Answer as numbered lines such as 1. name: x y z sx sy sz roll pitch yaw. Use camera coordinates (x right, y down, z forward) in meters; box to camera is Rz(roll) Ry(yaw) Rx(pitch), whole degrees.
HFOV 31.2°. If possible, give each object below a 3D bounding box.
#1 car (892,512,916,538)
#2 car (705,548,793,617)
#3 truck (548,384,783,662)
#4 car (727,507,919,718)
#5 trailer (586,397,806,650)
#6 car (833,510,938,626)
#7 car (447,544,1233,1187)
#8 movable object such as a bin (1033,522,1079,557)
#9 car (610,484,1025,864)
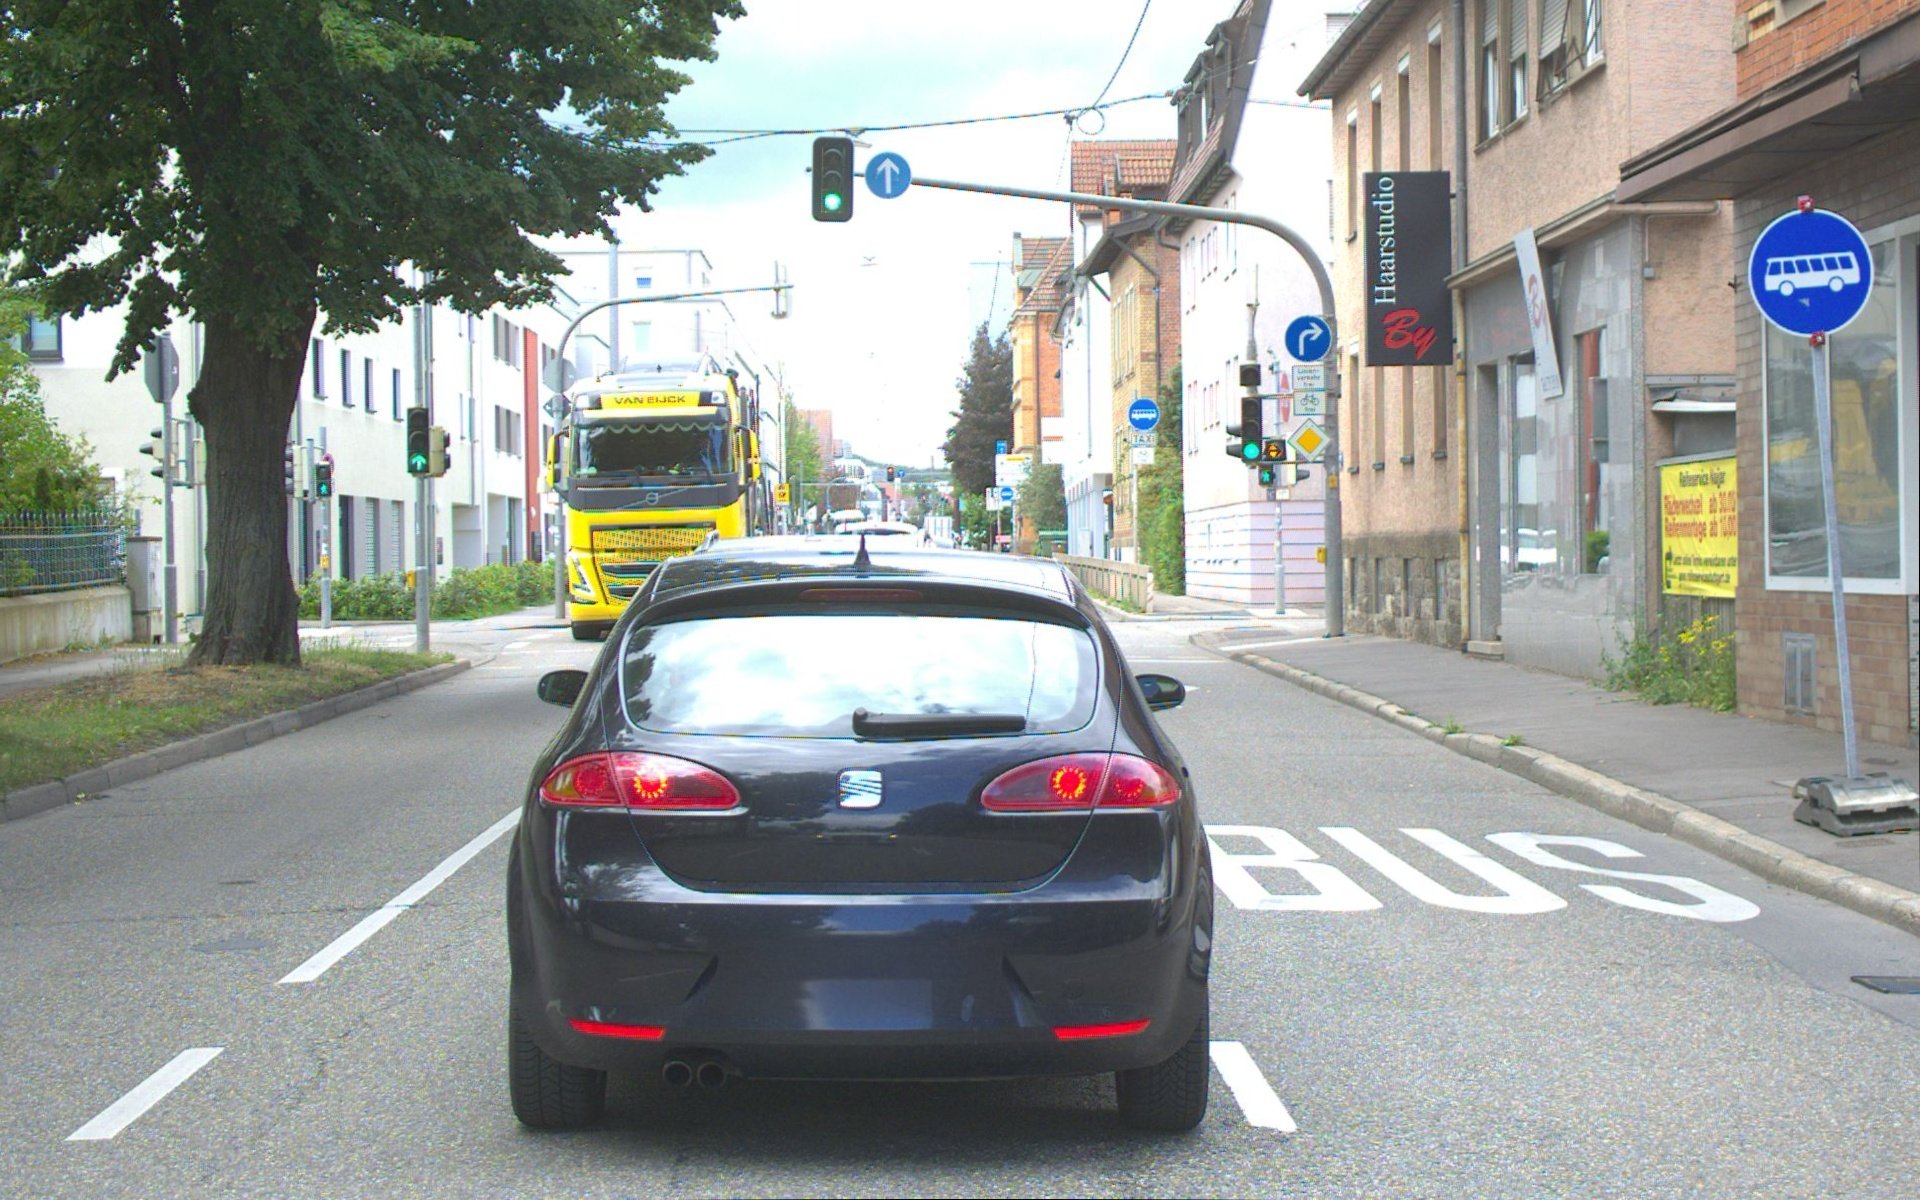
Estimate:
1. car: -3.747 -5.037 230.636 1.531 1.687 3.693 -1 1 -1
2. car: -4.925 -0.433 80.756 1.767 1.465 4.227 -3 1 0
3. truck: -4.221 -1.104 50.843 2.843 3.769 7.670 0 1 0
4. car: -1.143 0.076 29.473 1.531 1.687 3.693 0 1 -1
5. trailer: -4.321 -1.252 59.207 2.858 3.795 14.392 0 1 -1
6. car: -1.145 -0.496 52.618 1.531 1.687 3.693 0 1 -1
7. car: -0.305 0.573 9.742 1.759 1.437 4.000 0 1 -1
8. movable object such as a bin: 3.951 -2.478 141.668 1.818 1.432 1.993 1 1 0
9. car: -0.684 0.307 17.397 1.842 1.687 4.000 0 1 -1
